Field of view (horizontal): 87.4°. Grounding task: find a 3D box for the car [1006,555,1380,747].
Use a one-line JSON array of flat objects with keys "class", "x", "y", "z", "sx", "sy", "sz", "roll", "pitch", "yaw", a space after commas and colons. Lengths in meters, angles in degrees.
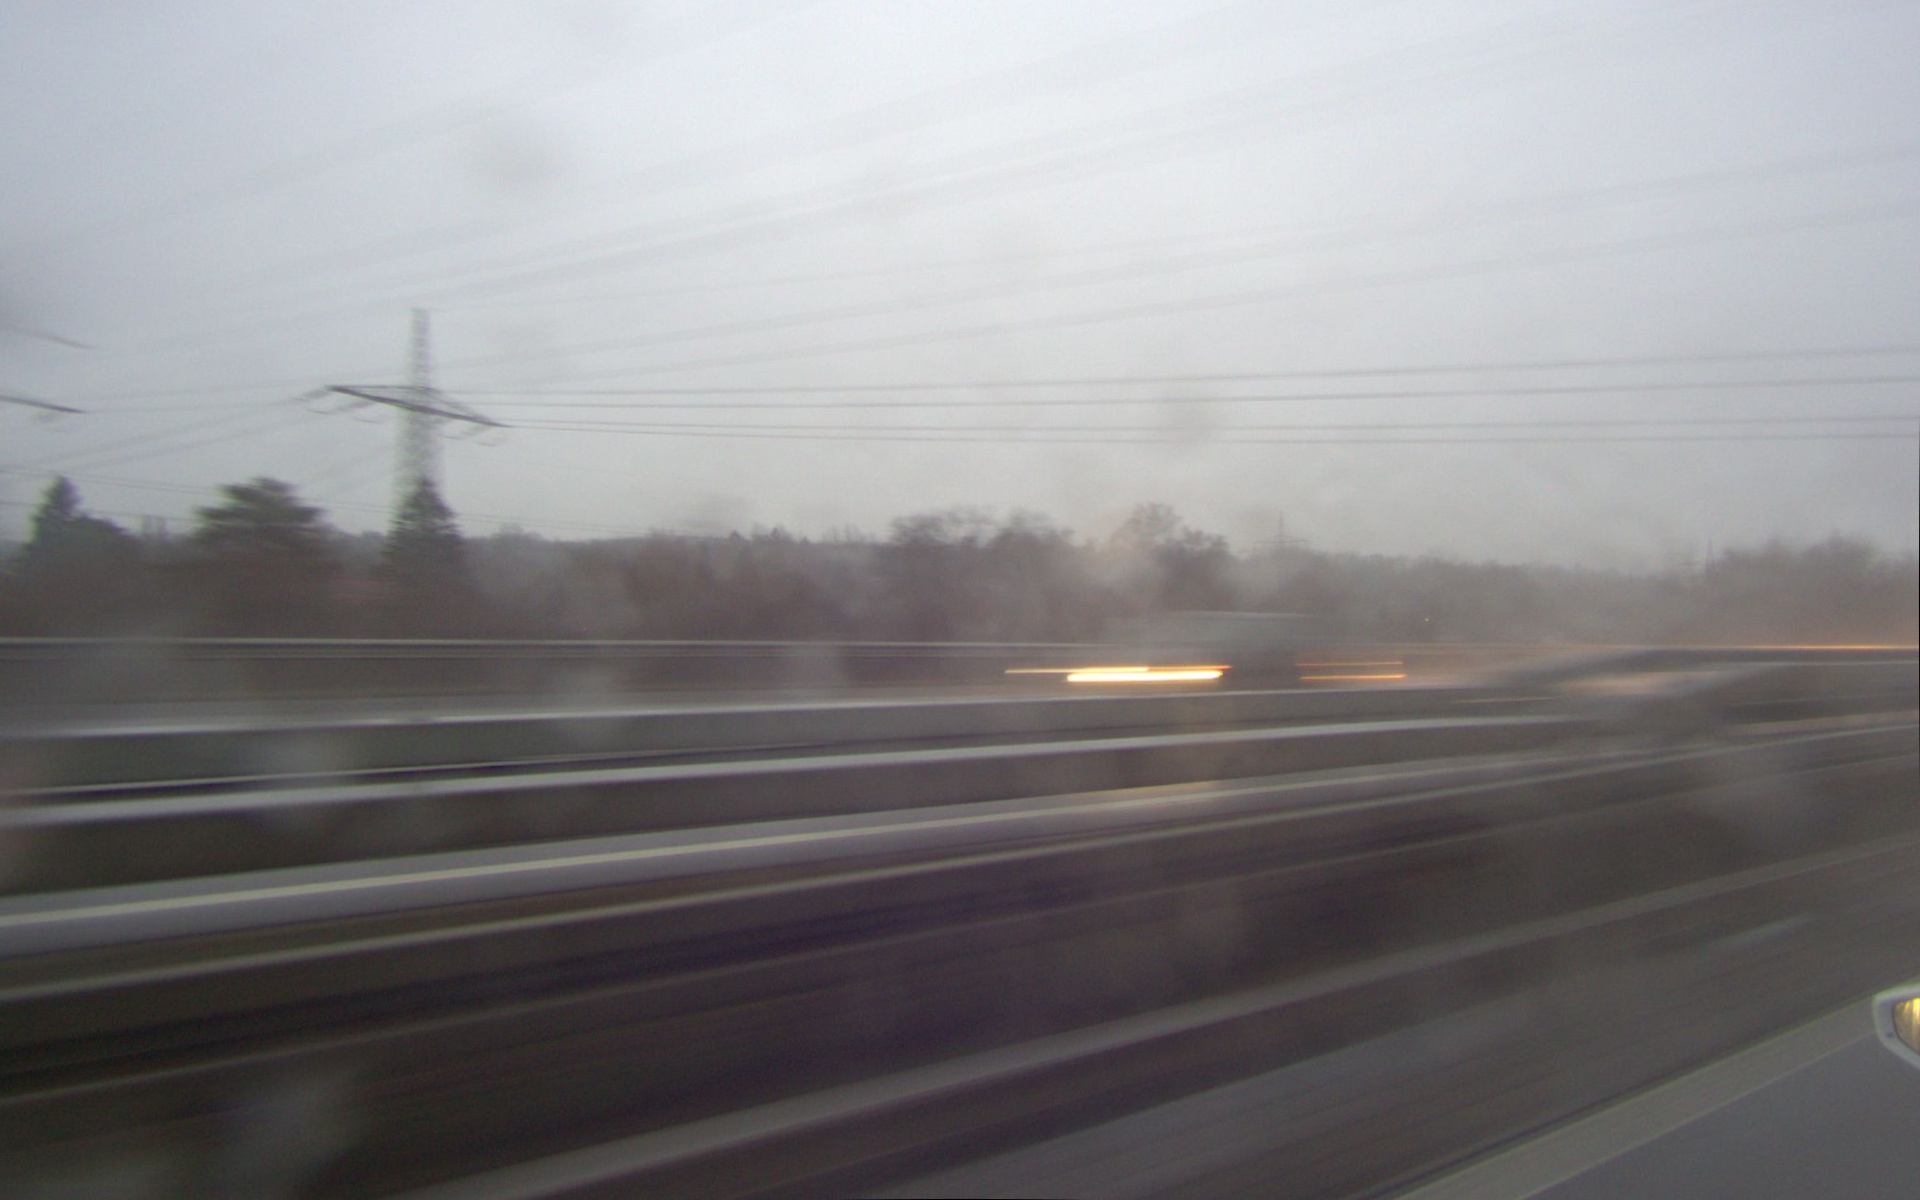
[{"class": "car", "x": 3.139, "y": 0.614, "z": 13.294, "sx": 4.707, "sy": 2.142, "sz": 2.060, "roll": 1, "pitch": 0, "yaw": -31}]
